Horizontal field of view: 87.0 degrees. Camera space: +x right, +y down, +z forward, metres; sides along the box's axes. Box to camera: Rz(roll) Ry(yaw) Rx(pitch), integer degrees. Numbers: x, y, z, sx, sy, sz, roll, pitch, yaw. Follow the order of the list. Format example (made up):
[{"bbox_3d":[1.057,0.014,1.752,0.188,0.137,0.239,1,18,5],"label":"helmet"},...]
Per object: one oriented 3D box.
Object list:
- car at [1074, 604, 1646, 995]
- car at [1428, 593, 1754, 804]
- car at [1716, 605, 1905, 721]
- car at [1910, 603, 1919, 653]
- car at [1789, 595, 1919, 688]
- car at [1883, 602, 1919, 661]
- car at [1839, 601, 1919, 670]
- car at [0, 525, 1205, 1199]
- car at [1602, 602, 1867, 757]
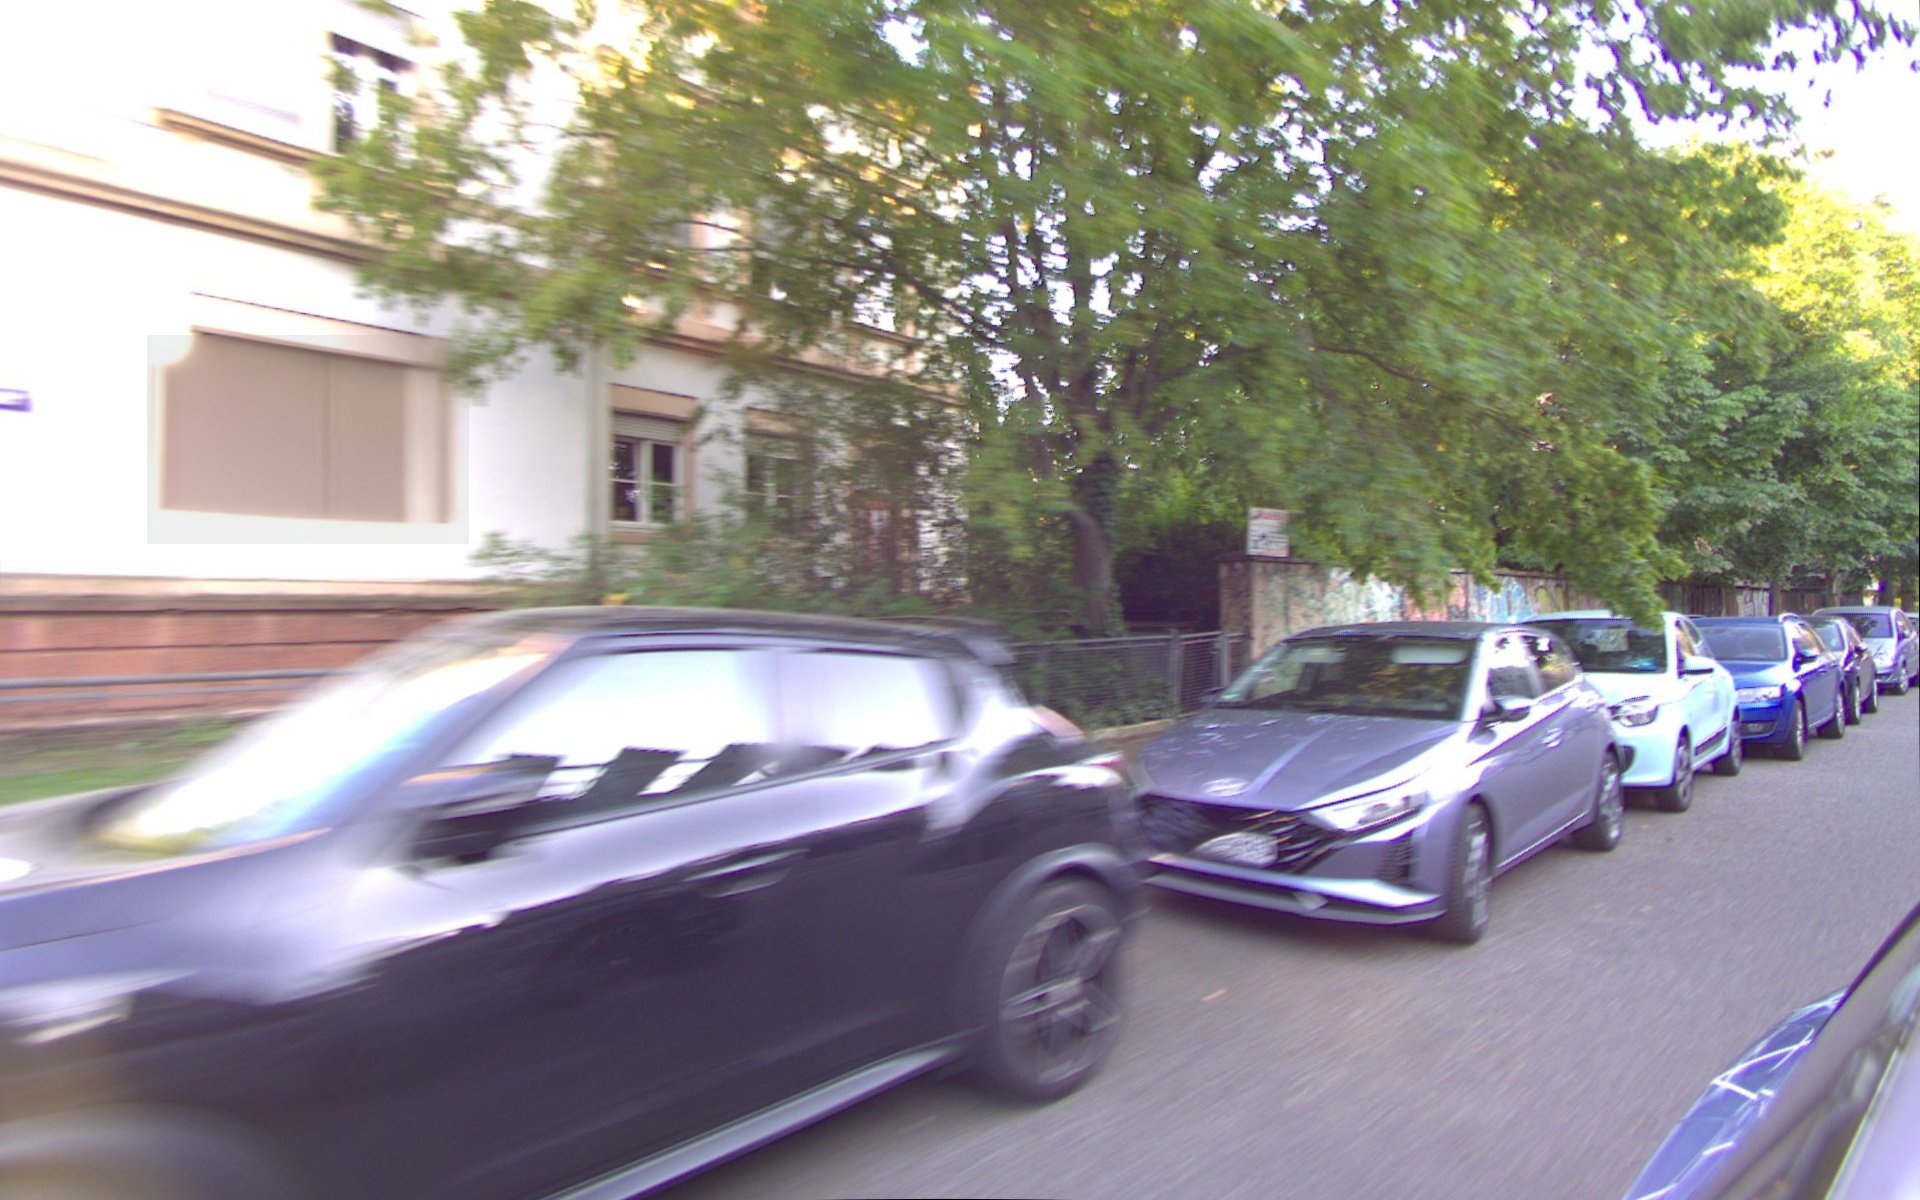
[{"bbox_3d":[2.619,0.784,5.993,1.695,1.496,4.145,-1,-1,44],"label":"car"},{"bbox_3d":[5.726,0.711,9.024,3.501,1.496,1.695,0,-1,-45],"label":"car"},{"bbox_3d":[12.698,0.840,15.046,3.708,1.496,1.599,0,-1,-41],"label":"car"},{"bbox_3d":[29.538,0.830,29.898,3.935,1.461,1.762,1,-2,-41],"label":"car"},{"bbox_3d":[17.656,0.745,19.685,3.806,1.624,1.762,0,-1,-41],"label":"car"},{"bbox_3d":[26.001,0.797,26.866,4.316,1.473,1.762,0,-1,-41],"label":"car"},{"bbox_3d":[21.598,0.796,23.154,3.806,1.460,1.762,1,-2,-41],"label":"car"},{"bbox_3d":[-1.167,0.699,2.812,3.903,1.591,1.697,0,-1,-42],"label":"car"},{"bbox_3d":[9.115,0.782,11.794,4.045,1.496,1.697,0,-1,-41],"label":"car"}]
